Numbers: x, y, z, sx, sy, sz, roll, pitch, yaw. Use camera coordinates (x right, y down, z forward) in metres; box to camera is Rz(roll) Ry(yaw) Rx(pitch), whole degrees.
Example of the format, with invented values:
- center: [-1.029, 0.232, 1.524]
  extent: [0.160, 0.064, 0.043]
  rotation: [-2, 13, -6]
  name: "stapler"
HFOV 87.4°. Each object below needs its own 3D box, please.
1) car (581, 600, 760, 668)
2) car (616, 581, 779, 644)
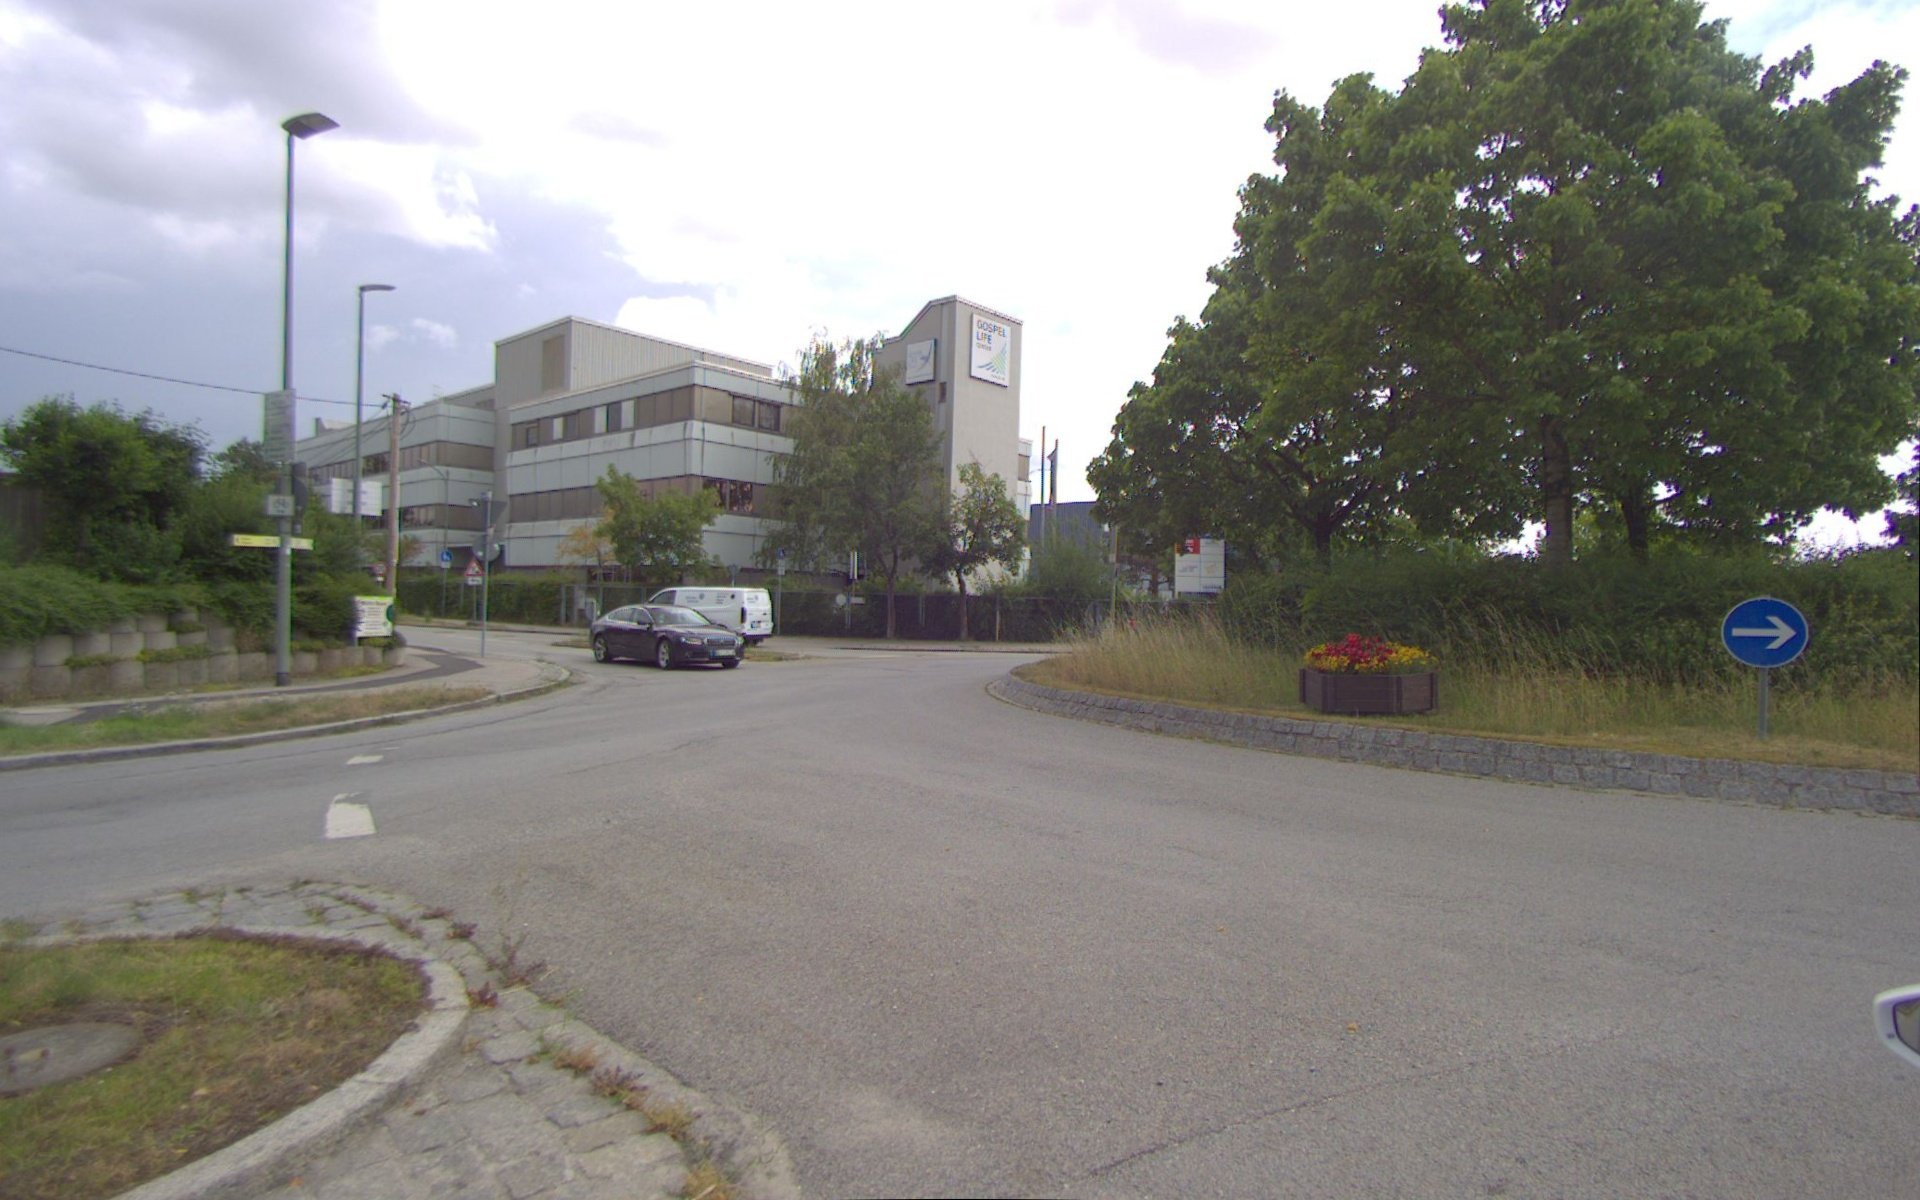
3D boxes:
- center: [-6.687, 0.719, 22.968]
  extent: [4.406, 1.365, 1.926]
  rotation: [1, 0, 42]
  name: "car"
- center: [-8.730, 0.371, 33.446]
  extent: [4.972, 1.930, 2.000]
  rotation: [1, 0, 20]
  name: "car"
